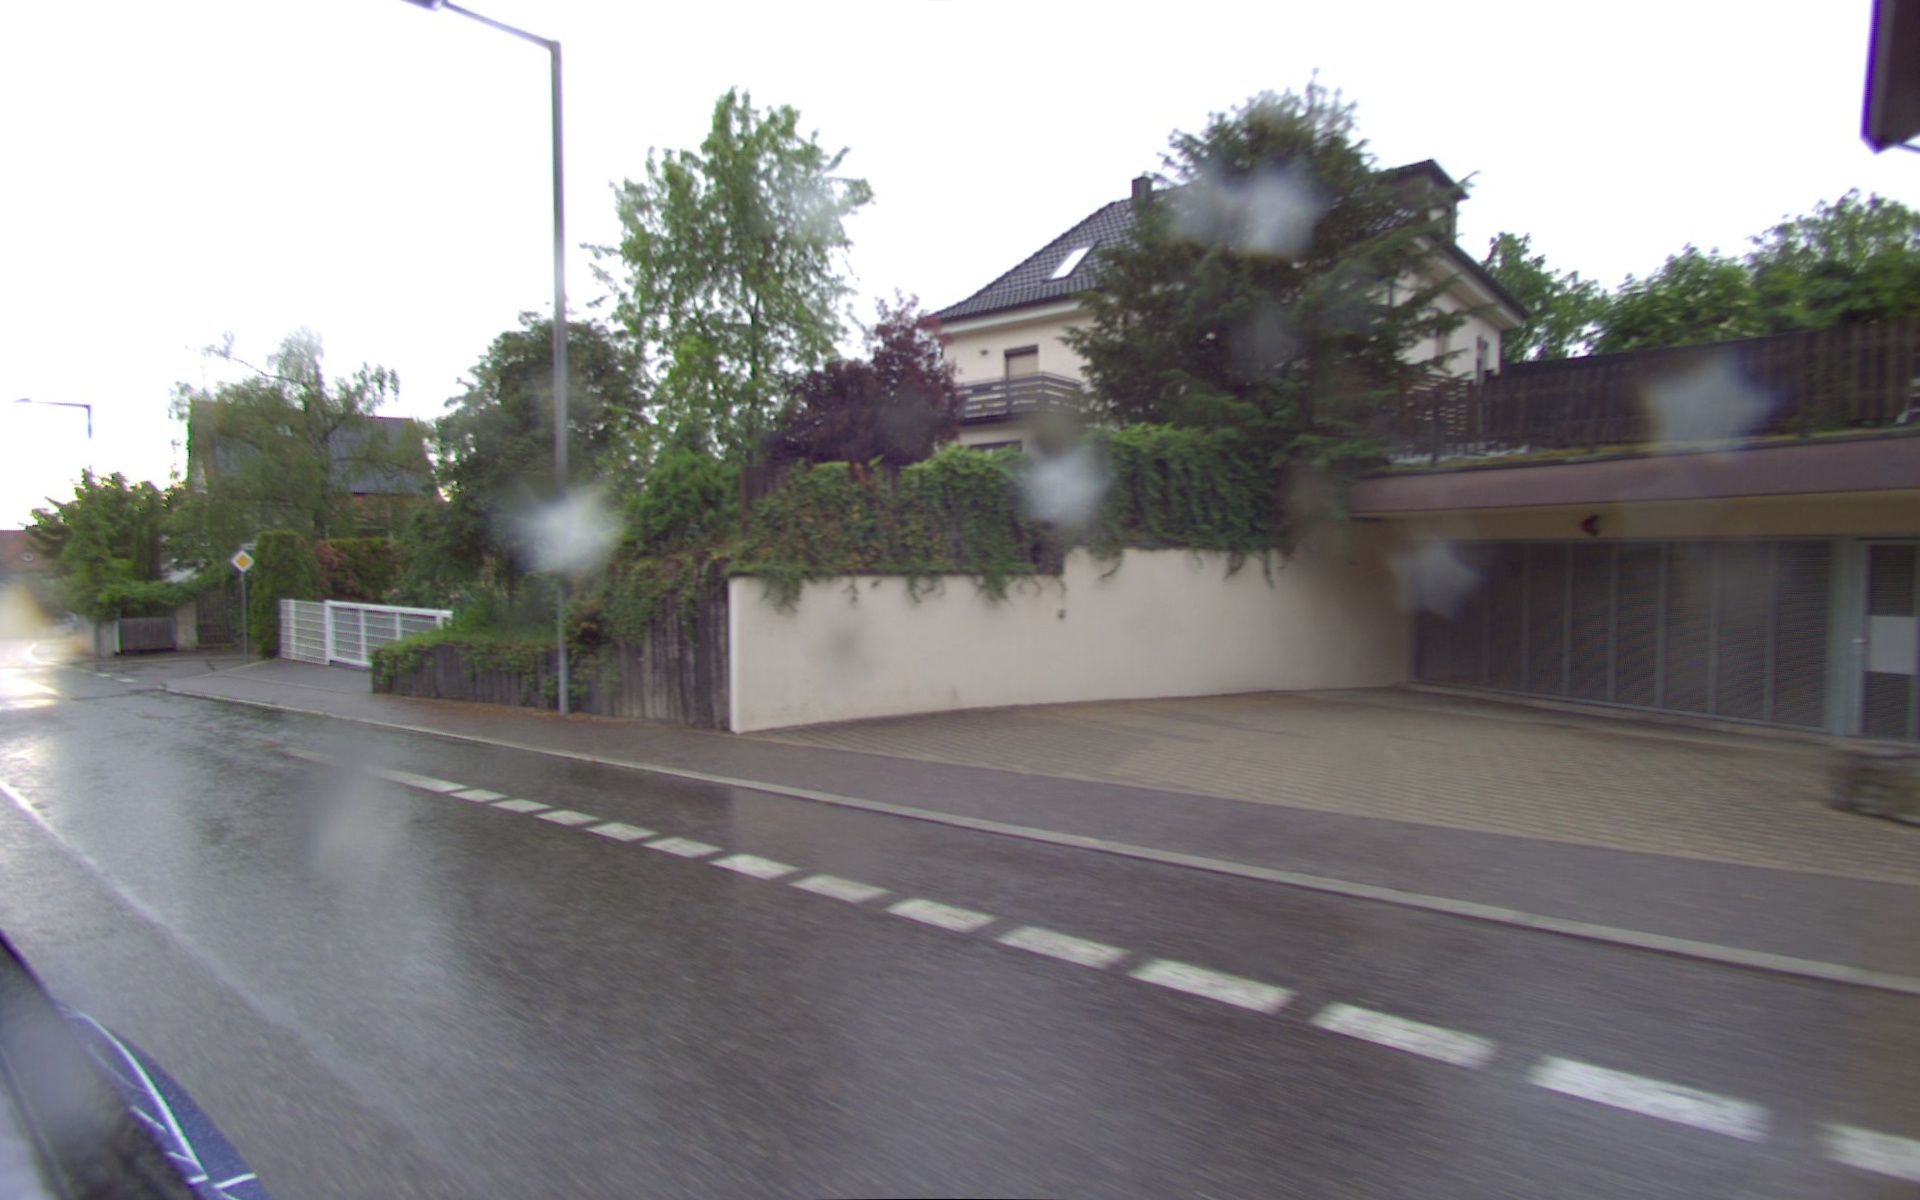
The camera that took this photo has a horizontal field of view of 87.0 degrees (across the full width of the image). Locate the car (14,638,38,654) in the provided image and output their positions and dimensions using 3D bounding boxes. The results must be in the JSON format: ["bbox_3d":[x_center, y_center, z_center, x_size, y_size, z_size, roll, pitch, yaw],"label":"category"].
[{"bbox_3d":[-101.594,4.998,110.081,1.770,1.605,4.260,3,-1,-45],"label":"car"}]

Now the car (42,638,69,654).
[{"bbox_3d":[-100.312,5.075,112.197,3.793,1.575,1.701,2,-1,41],"label":"car"}]

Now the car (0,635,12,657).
[{"bbox_3d":[-79.066,3.745,80.985,4.468,1.673,1.859,0,-4,-39],"label":"car"}]
